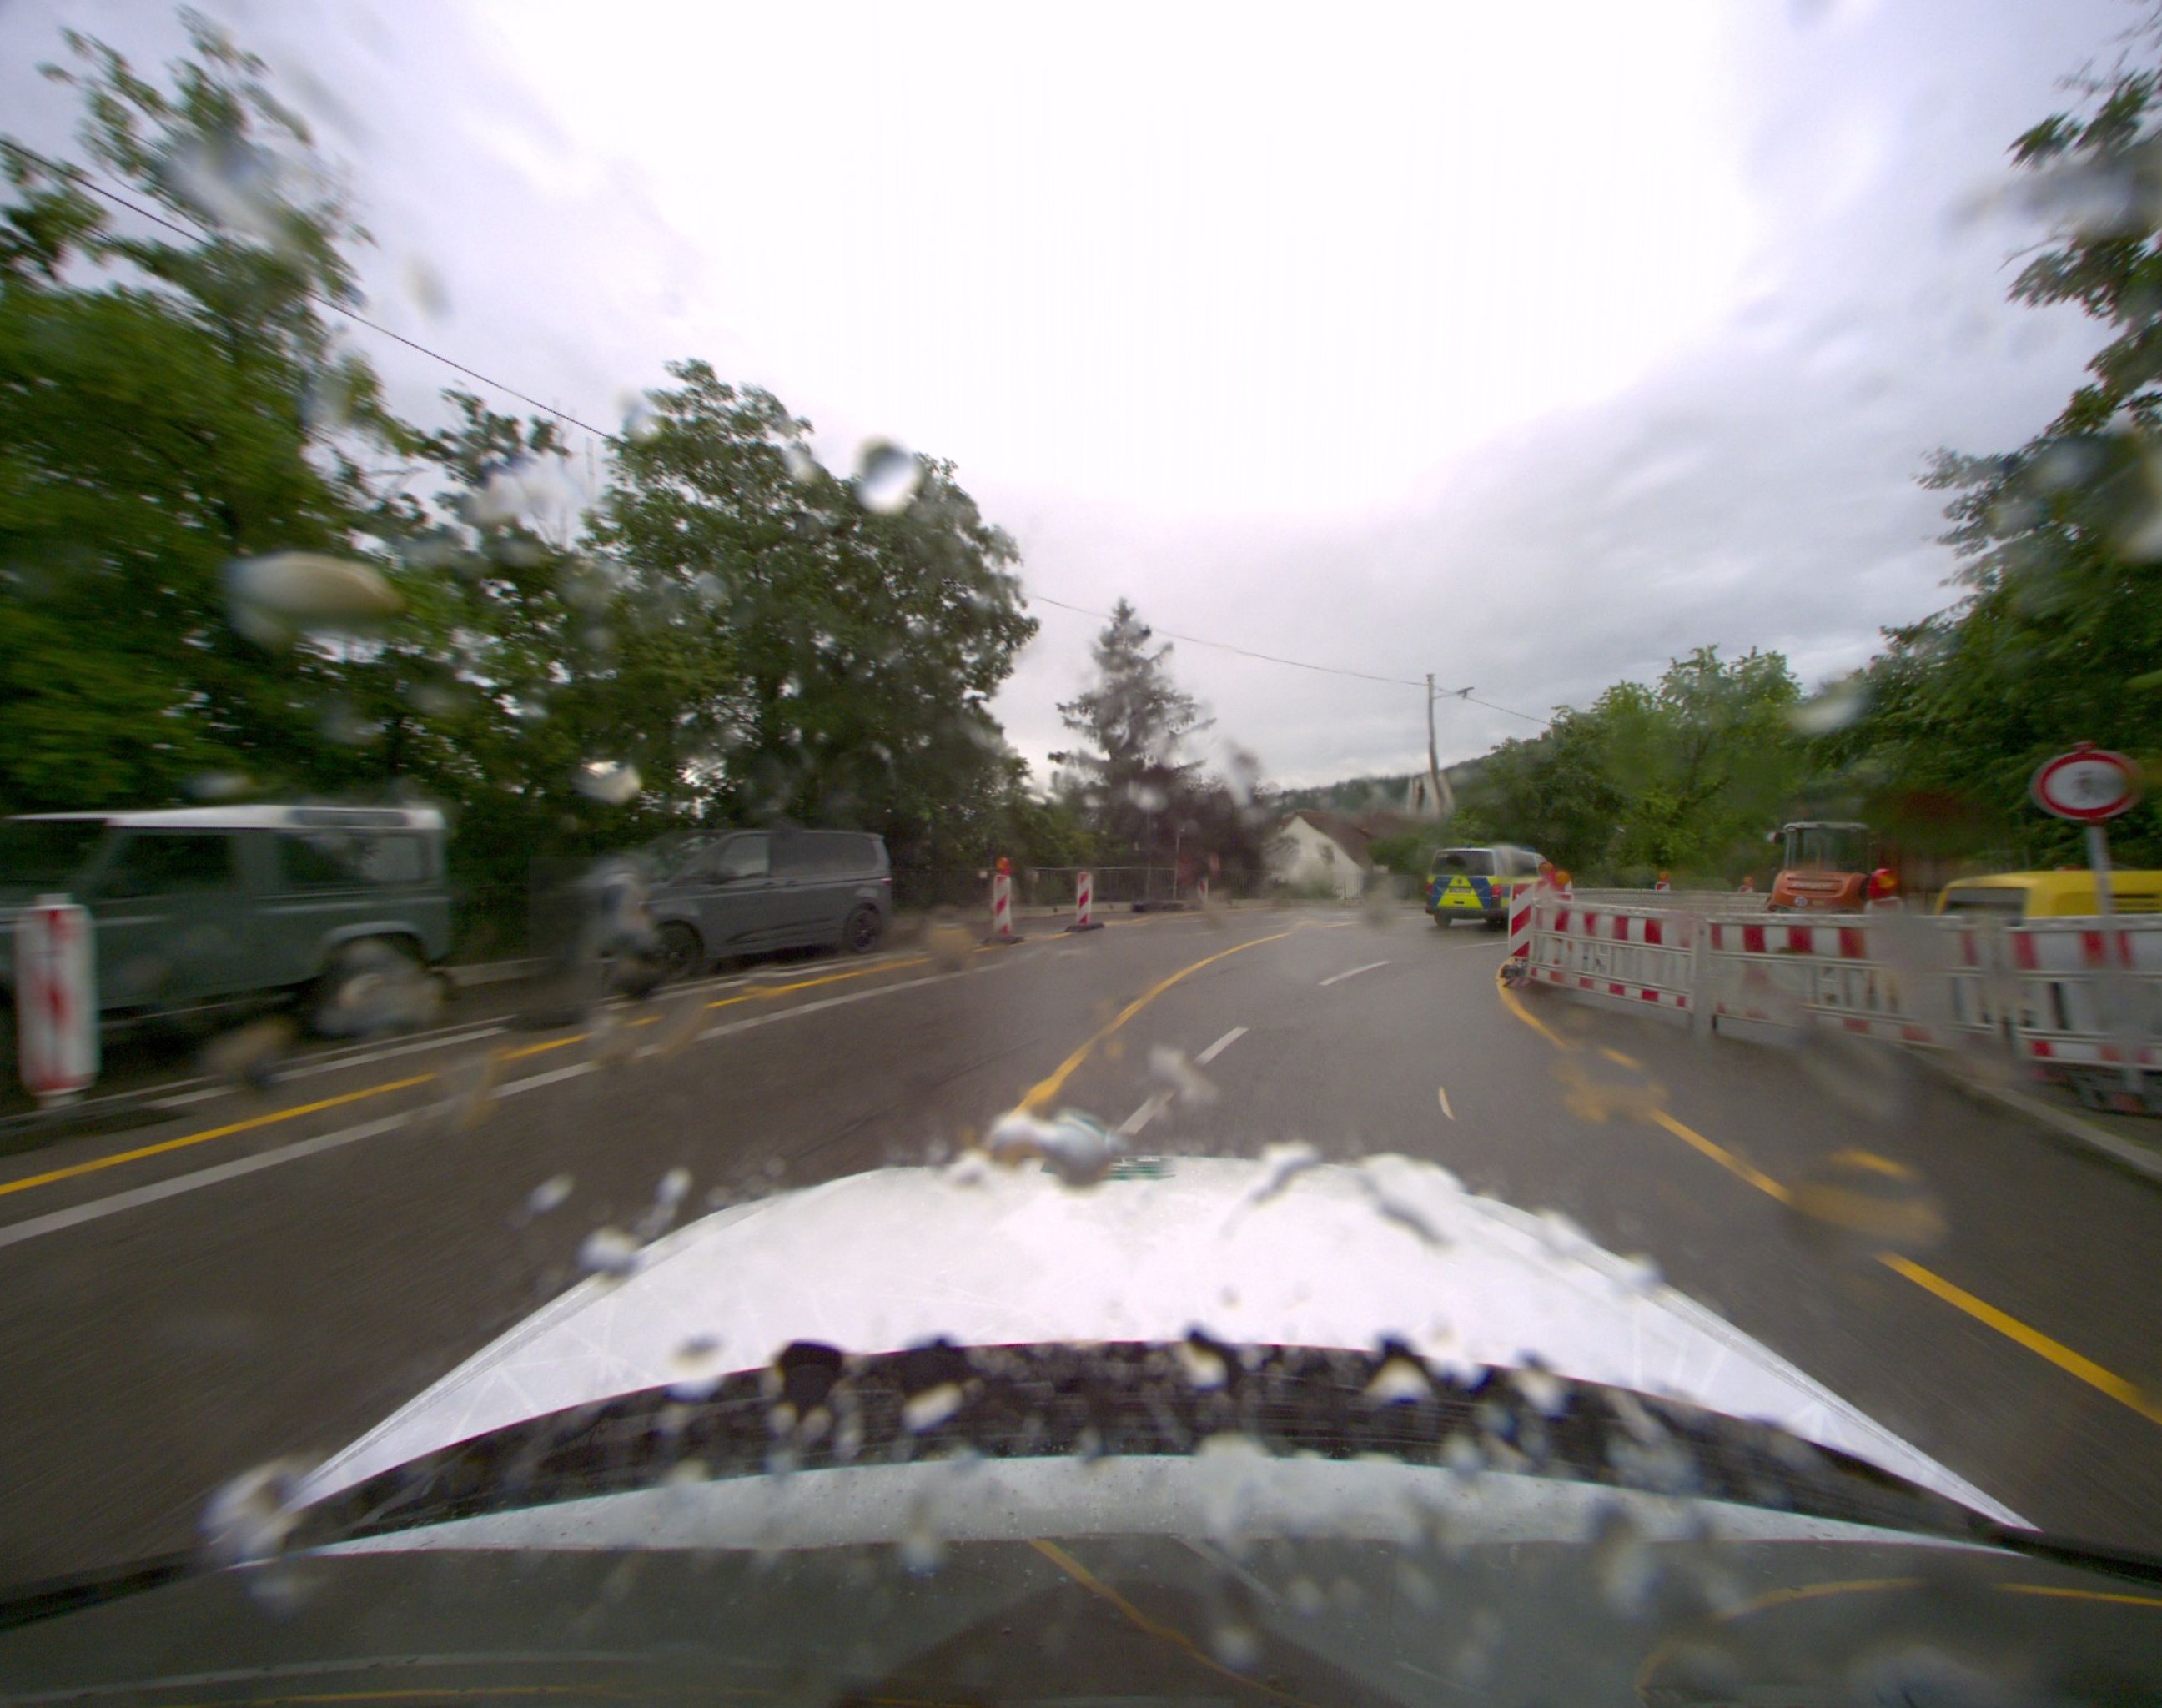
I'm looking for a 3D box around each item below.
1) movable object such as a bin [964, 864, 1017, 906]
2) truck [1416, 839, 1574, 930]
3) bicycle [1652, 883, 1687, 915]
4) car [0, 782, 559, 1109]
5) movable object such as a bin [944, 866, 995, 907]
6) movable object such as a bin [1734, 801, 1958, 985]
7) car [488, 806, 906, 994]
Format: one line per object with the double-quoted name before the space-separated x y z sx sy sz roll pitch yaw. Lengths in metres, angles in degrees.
"movable object such as a bin" -2.441 0.824 21.990 1.033 1.106 0.977 1 -2 -42
"truck" 10.607 0.690 20.690 4.761 2.014 1.976 -2 -1 -43
"bicycle" 27.004 2.076 37.351 1.744 1.349 0.418 4 -2 -23
"car" -7.172 0.554 6.717 1.852 2.013 4.832 0 0 14
"movable object such as a bin" -3.120 0.900 22.830 1.033 1.106 0.977 -1 -1 -42
"movable object such as a bin" 16.123 0.606 17.077 5.301 3.226 2.062 -4 3 -31
"car" -4.938 0.507 11.366 1.974 2.013 4.979 1 0 31
